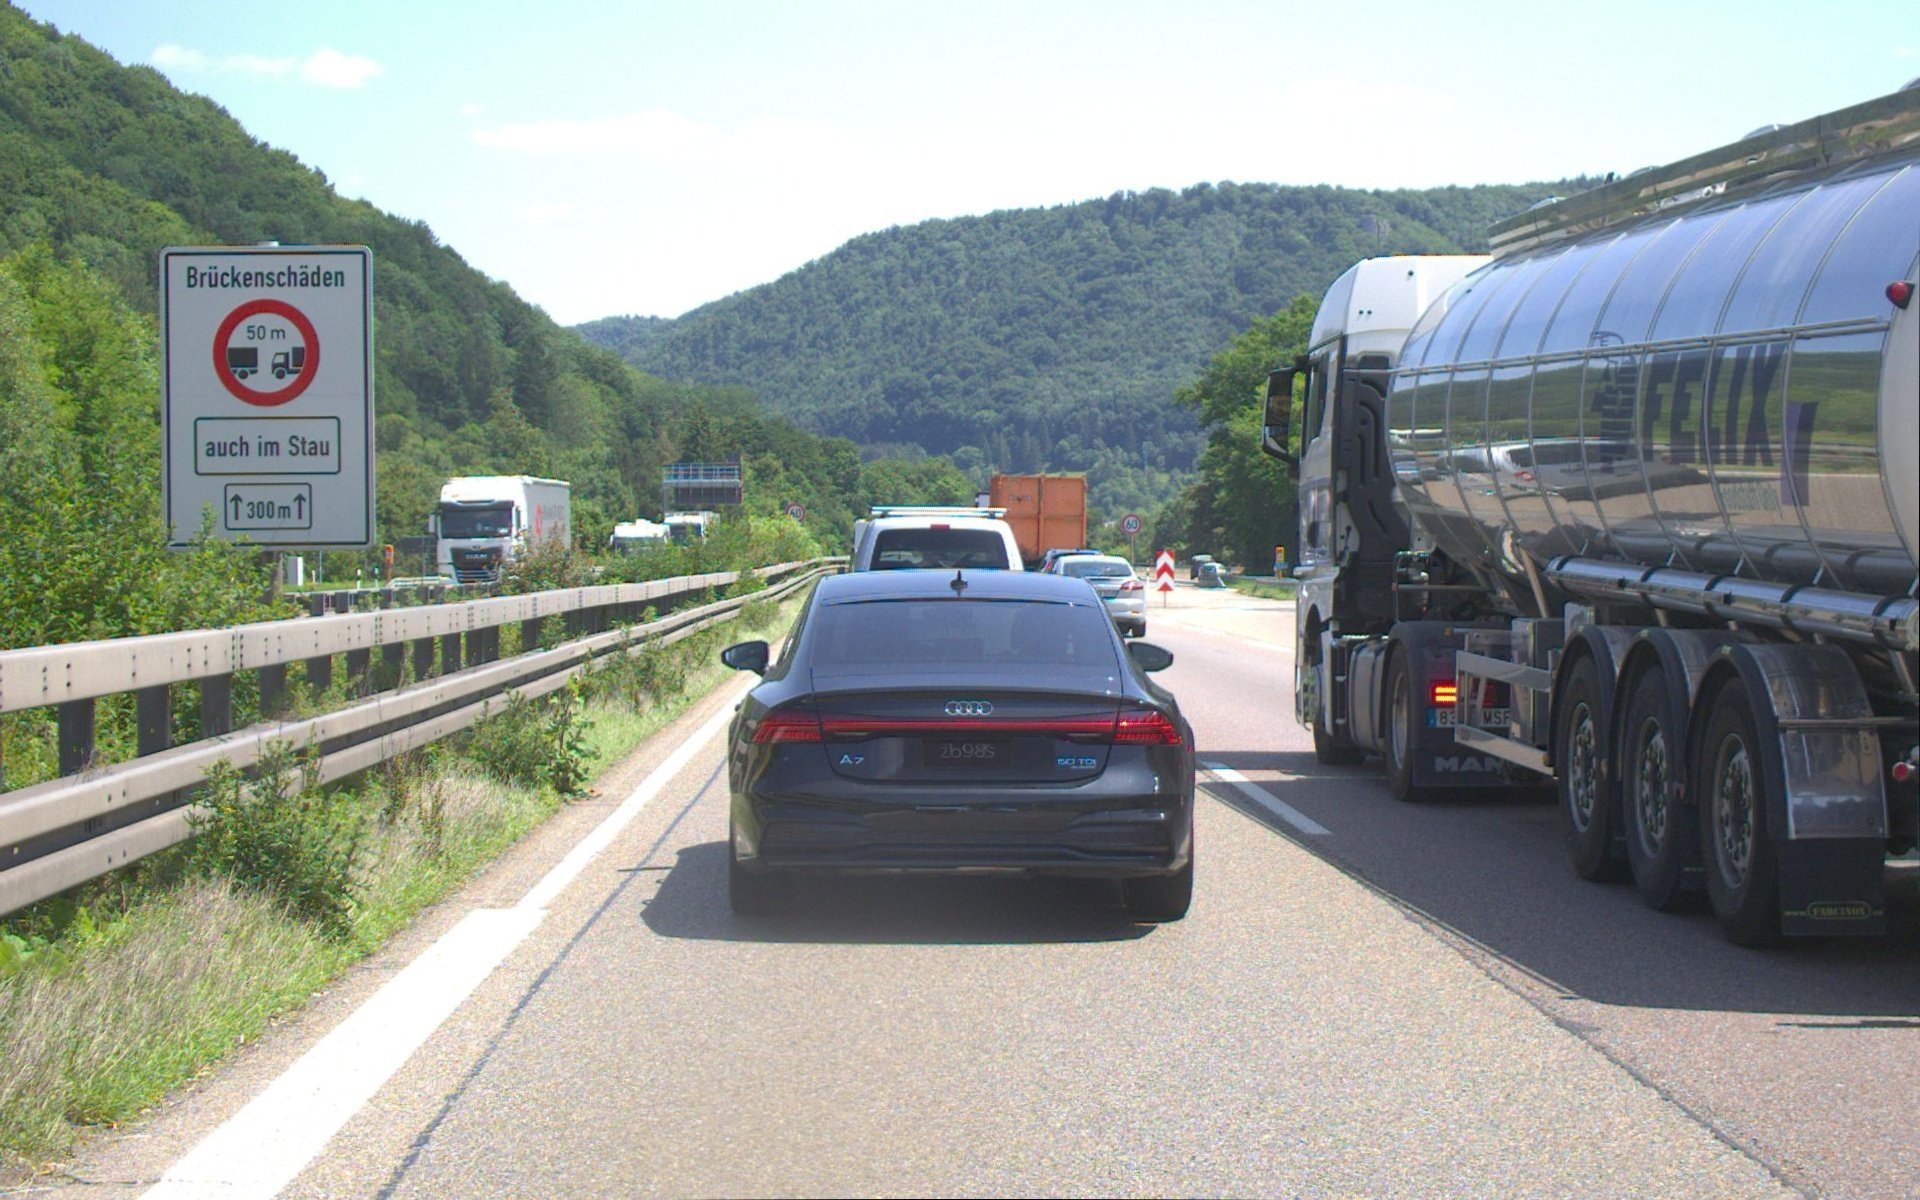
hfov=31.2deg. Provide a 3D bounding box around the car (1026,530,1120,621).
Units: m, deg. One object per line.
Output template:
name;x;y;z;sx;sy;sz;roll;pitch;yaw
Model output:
car;2.518;-0.569;77.359;1.993;1.996;4.000;0;1;0

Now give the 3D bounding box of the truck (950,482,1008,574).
truck;0.694;-2.792;135.410;1.993;3.435;11.812;1;1;-1

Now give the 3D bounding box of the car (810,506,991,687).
car;-0.707;-0.068;40.441;1.993;2.007;4.000;1;1;-1

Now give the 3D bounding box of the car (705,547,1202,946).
car;-0.133;0.520;14.925;1.849;1.483;4.083;1;1;-3

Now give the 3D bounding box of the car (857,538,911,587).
car;-2.523;-1.256;114.680;1.712;1.613;4.000;0;1;0

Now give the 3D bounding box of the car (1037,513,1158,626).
car;2.490;-0.580;63.220;1.993;2.007;4.000;0;1;-1

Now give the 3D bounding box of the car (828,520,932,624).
car;-1.597;-0.578;68.475;1.993;2.007;4.000;0;1;-1

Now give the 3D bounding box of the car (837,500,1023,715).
car;-0.295;0.033;31.457;1.575;1.827;4.000;1;1;-1

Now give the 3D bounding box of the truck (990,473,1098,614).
truck;2.466;-1.717;105.355;2.817;3.989;14.956;1;1;0

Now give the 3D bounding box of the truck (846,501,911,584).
truck;-3.487;-2.493;148.933;2.628;3.429;11.421;0;1;-1

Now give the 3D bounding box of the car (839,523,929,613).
car;-1.745;-0.746;78.825;1.993;2.007;4.000;0;1;-1

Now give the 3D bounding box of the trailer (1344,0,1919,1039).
trailer;3.984;-0.578;16.648;2.538;3.722;11.893;1;1;-2

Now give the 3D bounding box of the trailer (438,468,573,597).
trailer;-14.891;-2.213;113.629;2.782;3.986;14.160;0;1;-1

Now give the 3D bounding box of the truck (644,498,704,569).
truck;-16.403;-3.807;197.767;2.869;3.992;10.172;1;1;-2

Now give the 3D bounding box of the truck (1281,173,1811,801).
truck;3.766;-0.715;23.279;2.511;3.745;5.246;1;1;-2

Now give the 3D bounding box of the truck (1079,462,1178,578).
truck;6.135;-2.897;127.183;2.817;3.989;14.956;1;1;0

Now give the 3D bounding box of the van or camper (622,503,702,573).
van or camper;-14.470;-3.004;167.353;2.590;3.324;7.647;0;1;5

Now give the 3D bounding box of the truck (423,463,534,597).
truck;-14.784;-2.144;105.935;2.728;3.988;5.370;0;1;-1

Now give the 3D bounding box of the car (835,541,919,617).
car;-1.789;-0.474;75.005;1.712;1.613;4.000;0;1;0
